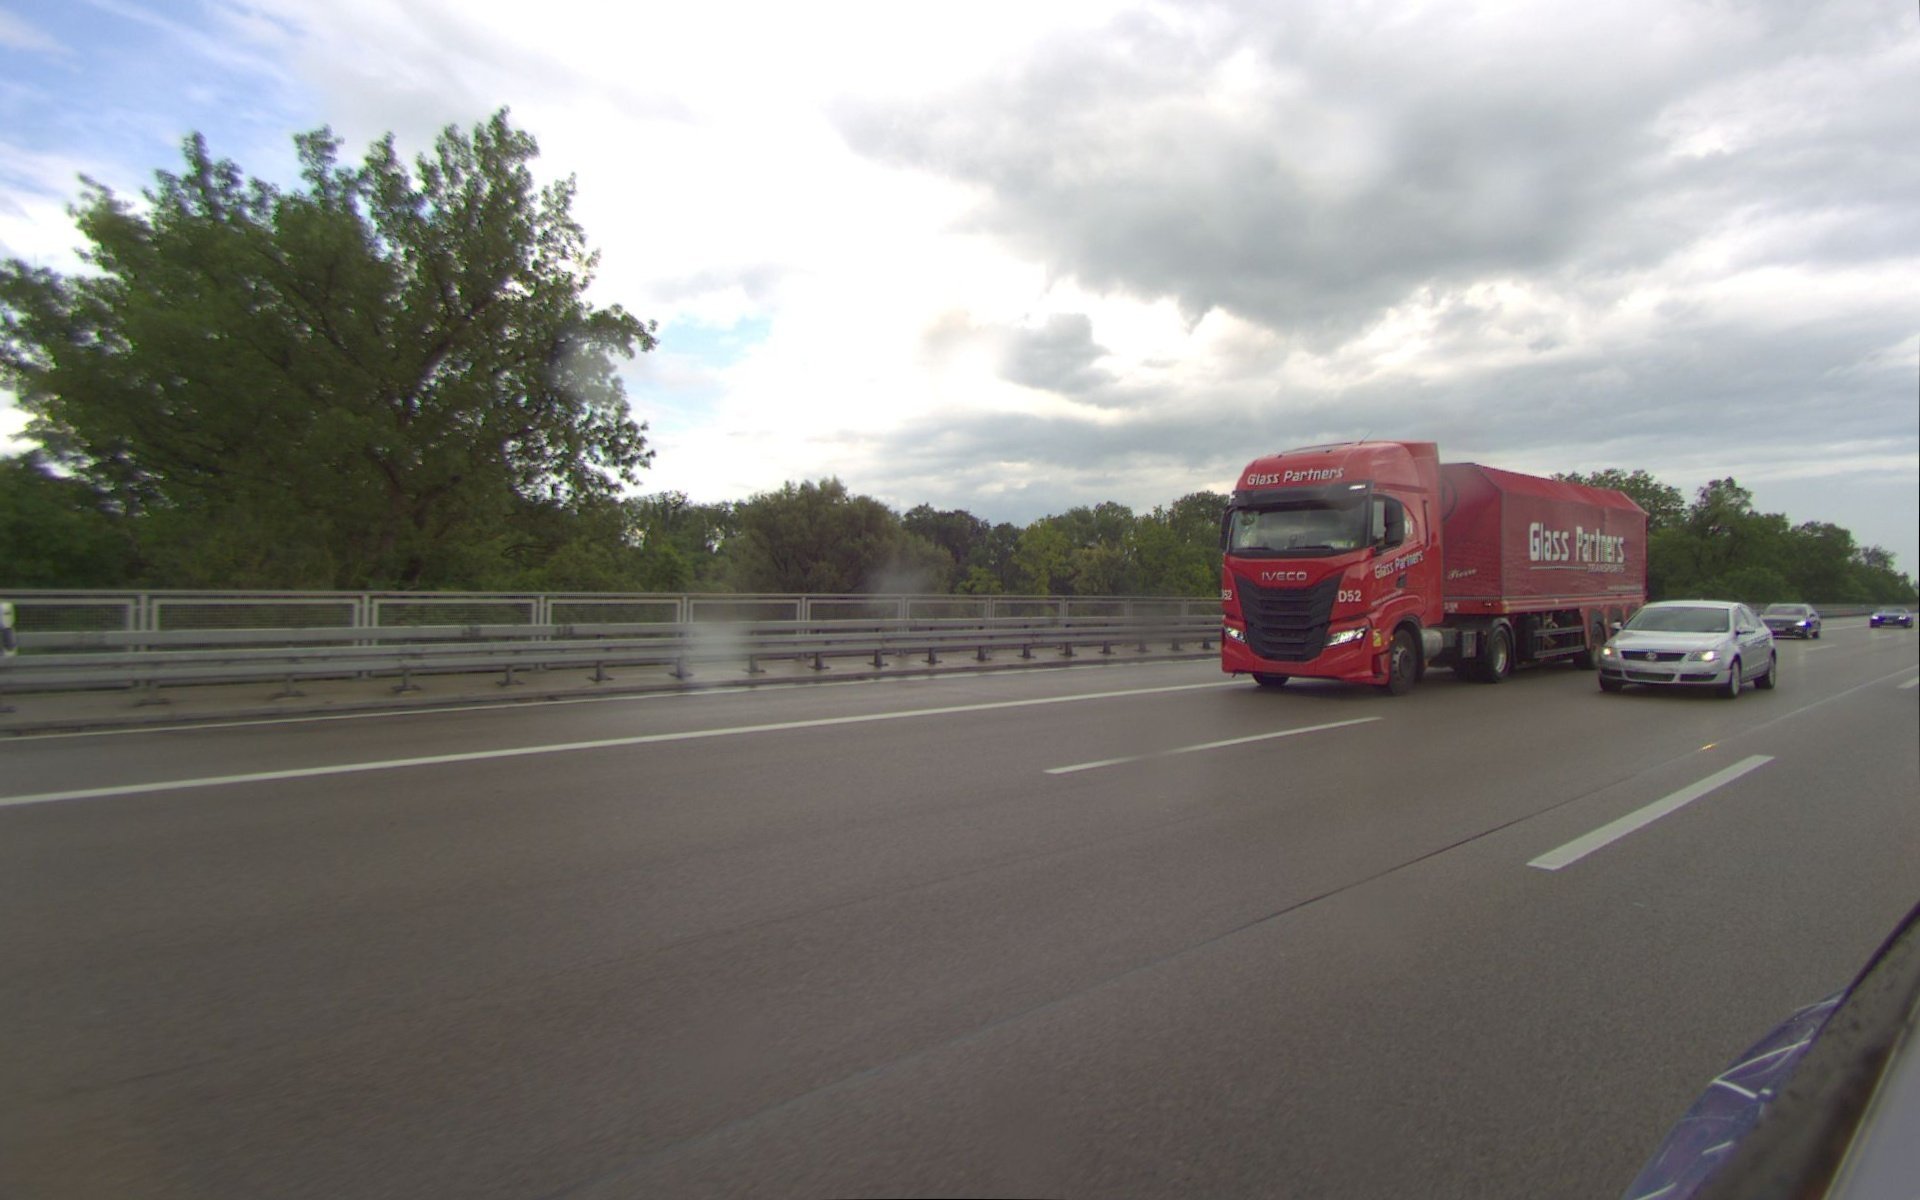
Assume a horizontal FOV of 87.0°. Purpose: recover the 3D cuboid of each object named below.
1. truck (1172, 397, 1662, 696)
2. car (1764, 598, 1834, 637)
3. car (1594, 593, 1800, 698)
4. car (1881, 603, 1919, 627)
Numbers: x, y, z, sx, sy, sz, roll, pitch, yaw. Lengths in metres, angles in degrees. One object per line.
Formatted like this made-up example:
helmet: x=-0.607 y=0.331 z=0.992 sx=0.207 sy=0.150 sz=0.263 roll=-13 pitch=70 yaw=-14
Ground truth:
truck: x=10.082 y=-0.697 z=20.145 sx=15.370 sy=4.054 sz=3.156 roll=1 pitch=0 yaw=-43
car: x=35.404 y=0.720 z=42.662 sx=4.285 sy=1.563 sz=1.816 roll=1 pitch=0 yaw=-44
car: x=12.017 y=0.652 z=16.407 sx=4.173 sy=1.465 sz=1.896 roll=1 pitch=0 yaw=-42
car: x=60.006 y=0.945 z=64.378 sx=4.511 sy=1.465 sz=1.778 roll=1 pitch=0 yaw=-44
